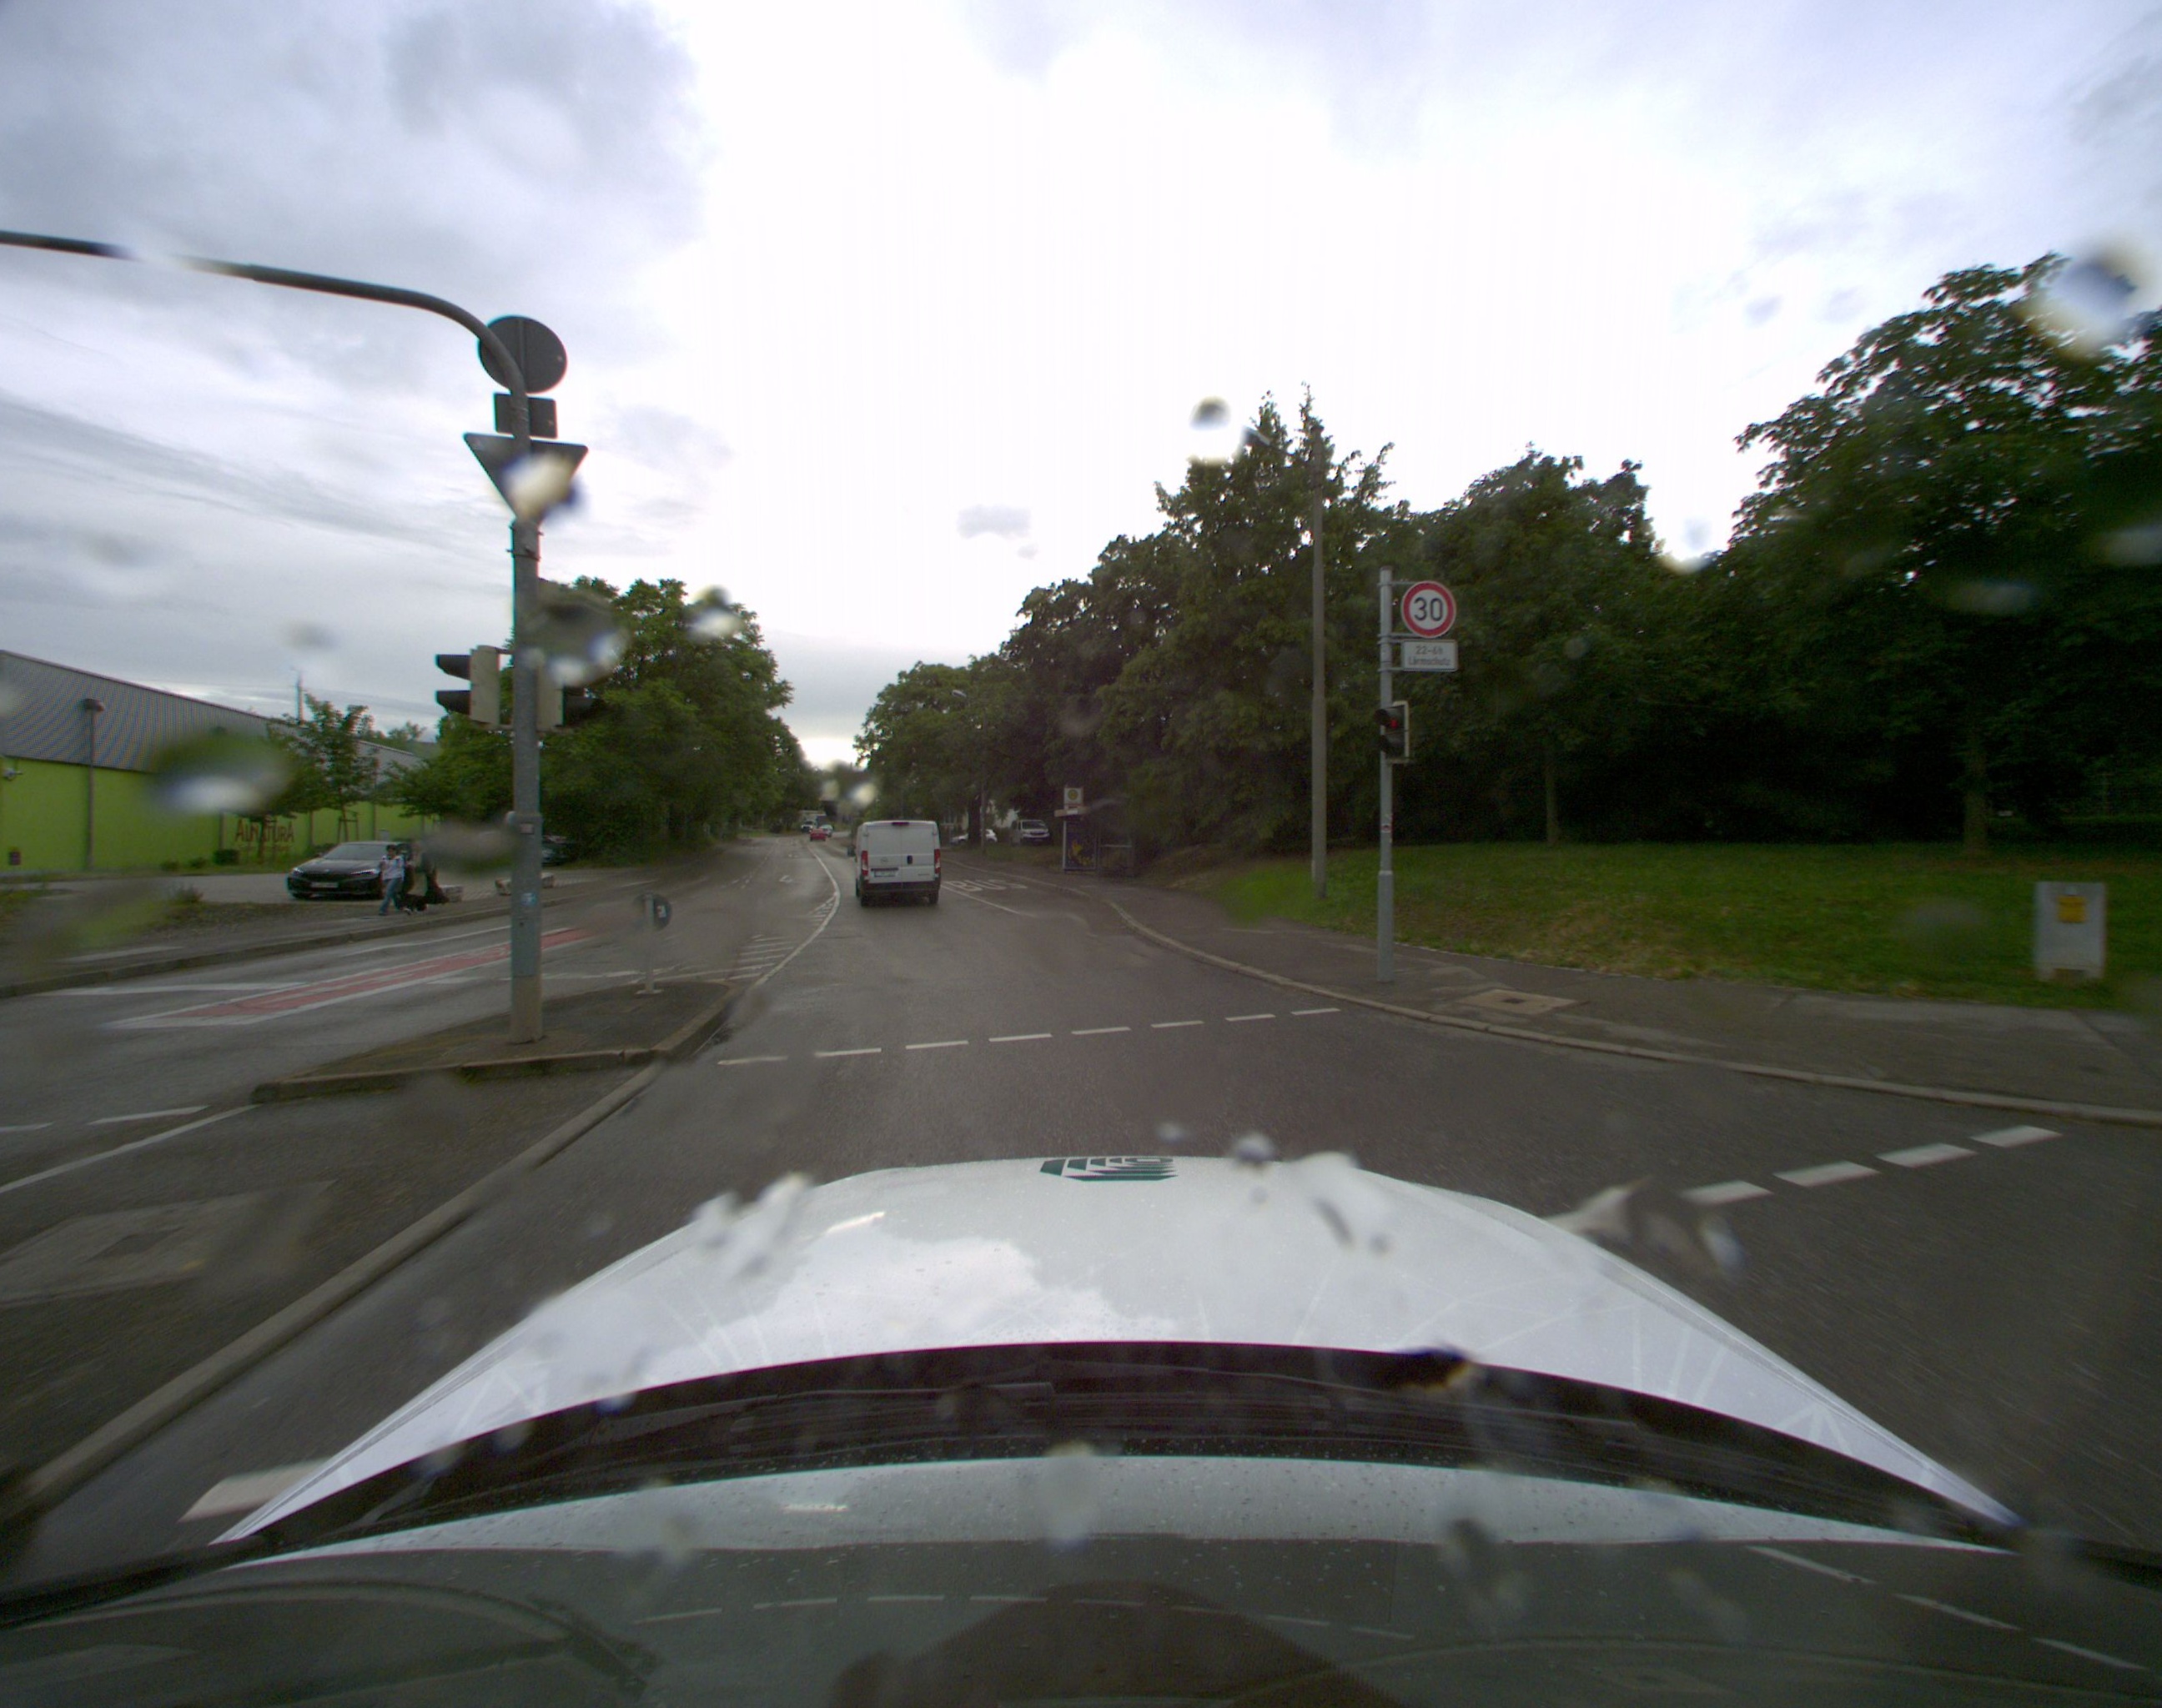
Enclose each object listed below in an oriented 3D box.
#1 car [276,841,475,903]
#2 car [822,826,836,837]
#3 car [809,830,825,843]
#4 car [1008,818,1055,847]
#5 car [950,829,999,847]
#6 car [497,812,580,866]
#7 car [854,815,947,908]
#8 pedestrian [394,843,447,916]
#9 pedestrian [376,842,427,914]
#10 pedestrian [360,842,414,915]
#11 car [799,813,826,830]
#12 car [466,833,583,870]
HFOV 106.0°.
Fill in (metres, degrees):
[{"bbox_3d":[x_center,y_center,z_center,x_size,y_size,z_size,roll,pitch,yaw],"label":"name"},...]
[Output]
[{"bbox_3d":[-18.544,0.407,21.720,1.743,1.449,4.230,1,1,-3],"label":"car"},{"bbox_3d":[-36.596,-3.258,118.262,1.768,1.510,3.738,0,2,-14],"label":"car"},{"bbox_3d":[-31.701,-2.133,97.739,1.842,1.533,4.177,0,2,-19],"label":"car"},{"bbox_3d":[-3.417,-1.443,54.703,1.998,1.804,5.118,1,2,-17],"label":"car"},{"bbox_3d":[-9.408,-1.428,71.916,4.004,1.422,1.691,-2,1,-23],"label":"car"},{"bbox_3d":[-27.830,-0.833,41.681,5.535,2.532,2.126,3,2,41],"label":"car"},{"bbox_3d":[-5.226,0.156,23.053,2.151,2.283,5.034,-2,1,-17],"label":"car"},{"bbox_3d":[-14.863,0.563,18.348,0.655,1.601,0.676,1,2,-6],"label":"pedestrian"},{"bbox_3d":[-15.500,0.532,18.588,0.604,1.601,0.676,1,2,-6],"label":"pedestrian"},{"bbox_3d":[-15.775,0.550,18.535,0.655,1.601,0.676,1,2,-6],"label":"pedestrian"},{"bbox_3d":[-48.898,-5.854,148.620,2.526,3.017,7.210,1,2,-1],"label":"car"},{"bbox_3d":[-25.635,-0.151,37.599,4.091,1.542,2.004,2,2,6],"label":"car"}]
